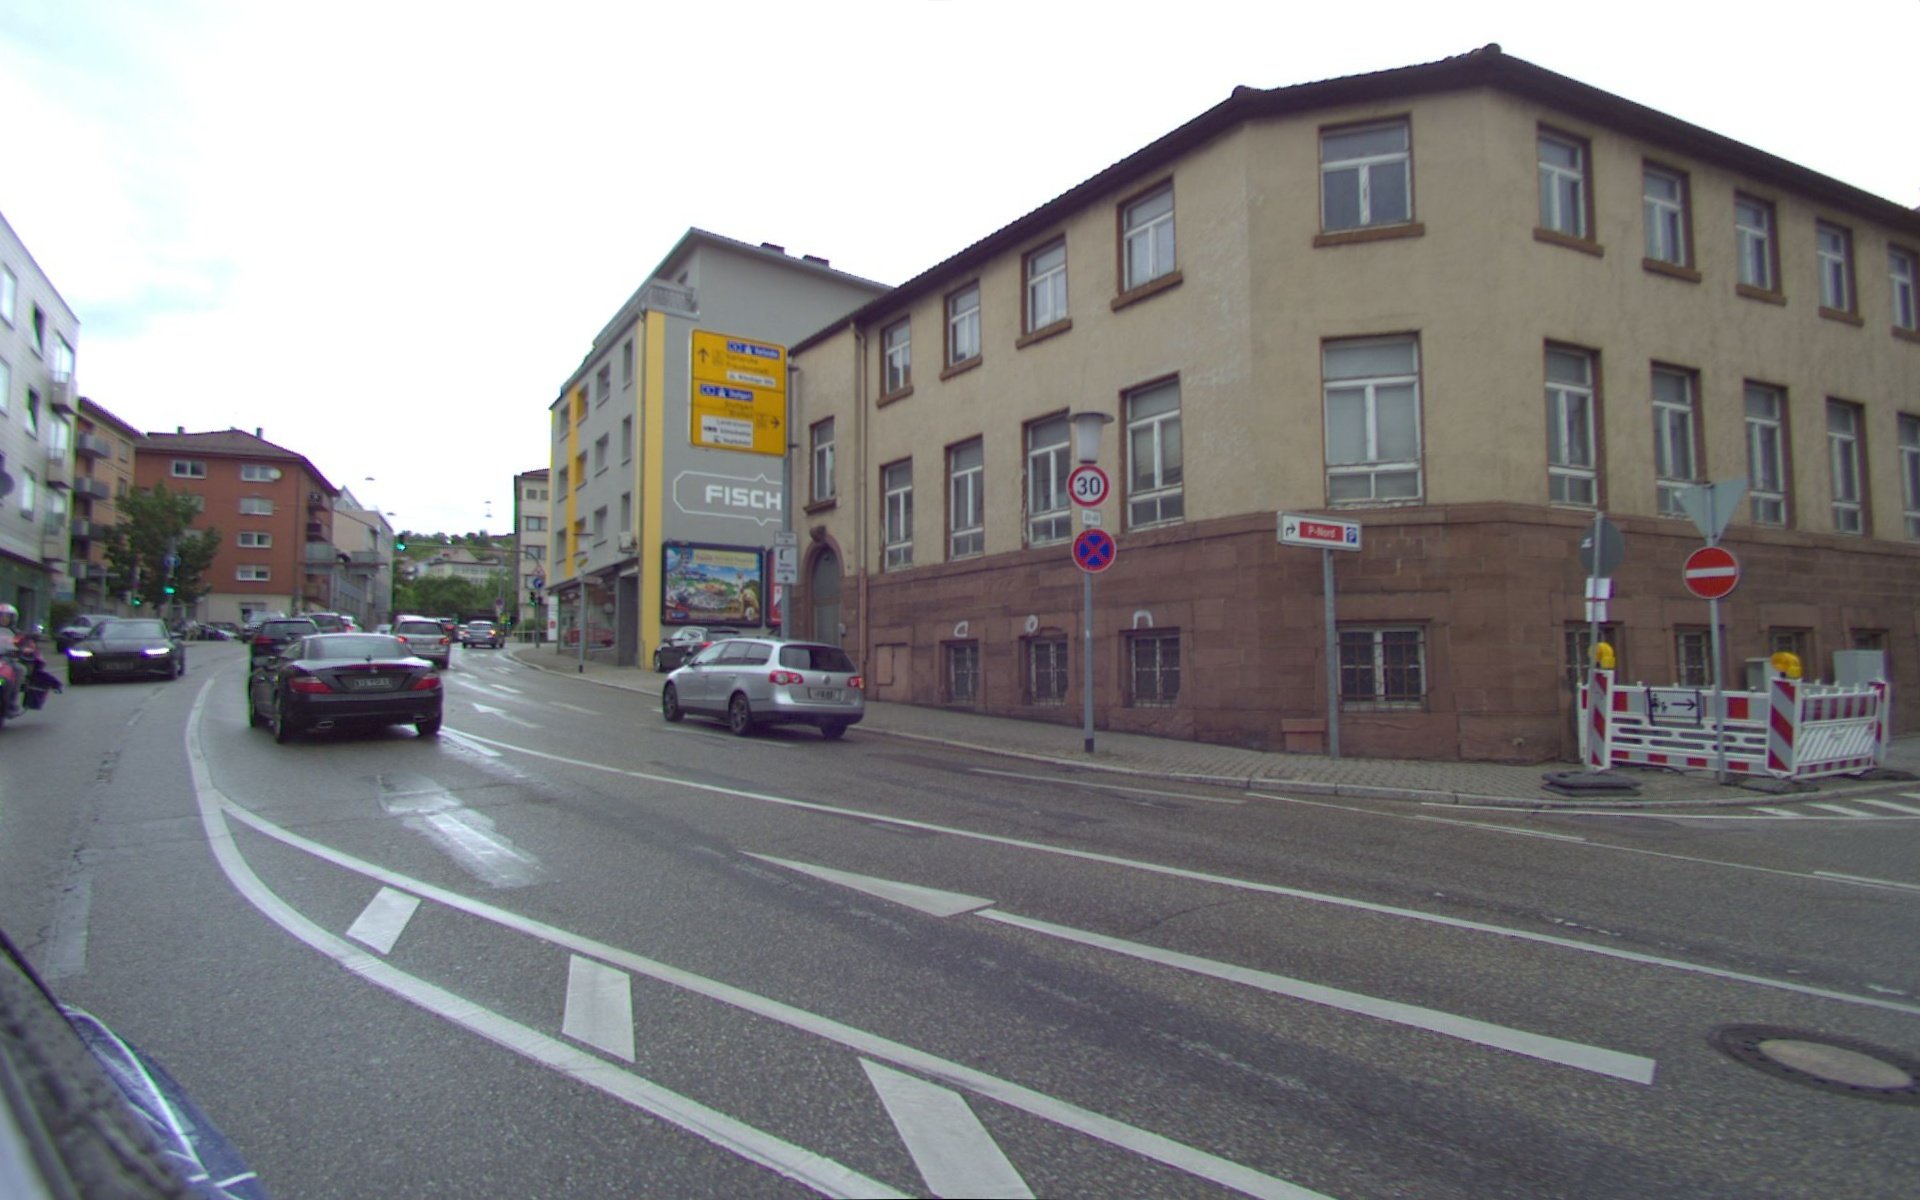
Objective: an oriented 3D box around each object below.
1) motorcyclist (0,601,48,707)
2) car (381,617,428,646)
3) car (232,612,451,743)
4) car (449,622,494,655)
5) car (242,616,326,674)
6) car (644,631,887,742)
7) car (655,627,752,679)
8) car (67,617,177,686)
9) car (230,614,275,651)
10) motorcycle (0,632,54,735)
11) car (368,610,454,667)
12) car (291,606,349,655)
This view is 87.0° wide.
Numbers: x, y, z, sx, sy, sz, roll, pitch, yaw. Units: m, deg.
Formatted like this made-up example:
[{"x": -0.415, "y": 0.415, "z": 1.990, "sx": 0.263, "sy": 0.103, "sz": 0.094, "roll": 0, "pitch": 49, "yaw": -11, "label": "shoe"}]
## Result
[{"x": -12.869, "y": 0.712, "z": 13.501, "sx": 0.995, "sy": 1.391, "sz": 0.836, "roll": 0, "pitch": -1, "yaw": -39, "label": "motorcyclist"}, {"x": -29.635, "y": 1.672, "z": 53.931, "sx": 1.832, "sy": 1.465, "sz": 4.330, "roll": 3, "pitch": -3, "yaw": -33, "label": "car"}, {"x": -8.423, "y": 0.937, "z": 13.599, "sx": 1.834, "sy": 1.465, "sz": 4.325, "roll": 3, "pitch": -3, "yaw": -40, "label": "car"}, {"x": -27.072, "y": 2.107, "z": 56.014, "sx": 1.832, "sy": 1.710, "sz": 4.331, "roll": 3, "pitch": -3, "yaw": -31, "label": "car"}, {"x": -19.099, "y": 1.212, "z": 28.649, "sx": 1.832, "sy": 1.465, "sz": 4.330, "roll": 1, "pitch": -1, "yaw": -33, "label": "car"}, {"x": -3.210, "y": 1.300, "z": 16.048, "sx": 1.834, "sy": 1.465, "sz": 4.325, "roll": 6, "pitch": -5, "yaw": -40, "label": "car"}, {"x": -8.047, "y": 1.594, "z": 31.502, "sx": 1.832, "sy": 1.465, "sz": 3.974, "roll": -1, "pitch": -1, "yaw": -31, "label": "car"}, {"x": -20.056, "y": 1.169, "z": 24.380, "sx": 1.679, "sy": 1.471, "sz": 4.329, "roll": 0, "pitch": -1, "yaw": -35, "label": "car"}, {"x": -37.692, "y": 1.728, "z": 53.996, "sx": 1.819, "sy": 1.918, "sz": 3.775, "roll": 2, "pitch": -2, "yaw": -33, "label": "car"}, {"x": -12.889, "y": 1.075, "z": 13.528, "sx": 0.995, "sy": 1.235, "sz": 2.699, "roll": 0, "pitch": -1, "yaw": -38, "label": "motorcycle"}, {"x": -17.788, "y": 1.217, "z": 32.701, "sx": 1.833, "sy": 1.711, "sz": 4.329, "roll": 3, "pitch": -3, "yaw": -36, "label": "car"}, {"x": -26.328, "y": 1.240, "z": 41.587, "sx": 1.819, "sy": 1.918, "sz": 3.775, "roll": 2, "pitch": -2, "yaw": -34, "label": "car"}]
